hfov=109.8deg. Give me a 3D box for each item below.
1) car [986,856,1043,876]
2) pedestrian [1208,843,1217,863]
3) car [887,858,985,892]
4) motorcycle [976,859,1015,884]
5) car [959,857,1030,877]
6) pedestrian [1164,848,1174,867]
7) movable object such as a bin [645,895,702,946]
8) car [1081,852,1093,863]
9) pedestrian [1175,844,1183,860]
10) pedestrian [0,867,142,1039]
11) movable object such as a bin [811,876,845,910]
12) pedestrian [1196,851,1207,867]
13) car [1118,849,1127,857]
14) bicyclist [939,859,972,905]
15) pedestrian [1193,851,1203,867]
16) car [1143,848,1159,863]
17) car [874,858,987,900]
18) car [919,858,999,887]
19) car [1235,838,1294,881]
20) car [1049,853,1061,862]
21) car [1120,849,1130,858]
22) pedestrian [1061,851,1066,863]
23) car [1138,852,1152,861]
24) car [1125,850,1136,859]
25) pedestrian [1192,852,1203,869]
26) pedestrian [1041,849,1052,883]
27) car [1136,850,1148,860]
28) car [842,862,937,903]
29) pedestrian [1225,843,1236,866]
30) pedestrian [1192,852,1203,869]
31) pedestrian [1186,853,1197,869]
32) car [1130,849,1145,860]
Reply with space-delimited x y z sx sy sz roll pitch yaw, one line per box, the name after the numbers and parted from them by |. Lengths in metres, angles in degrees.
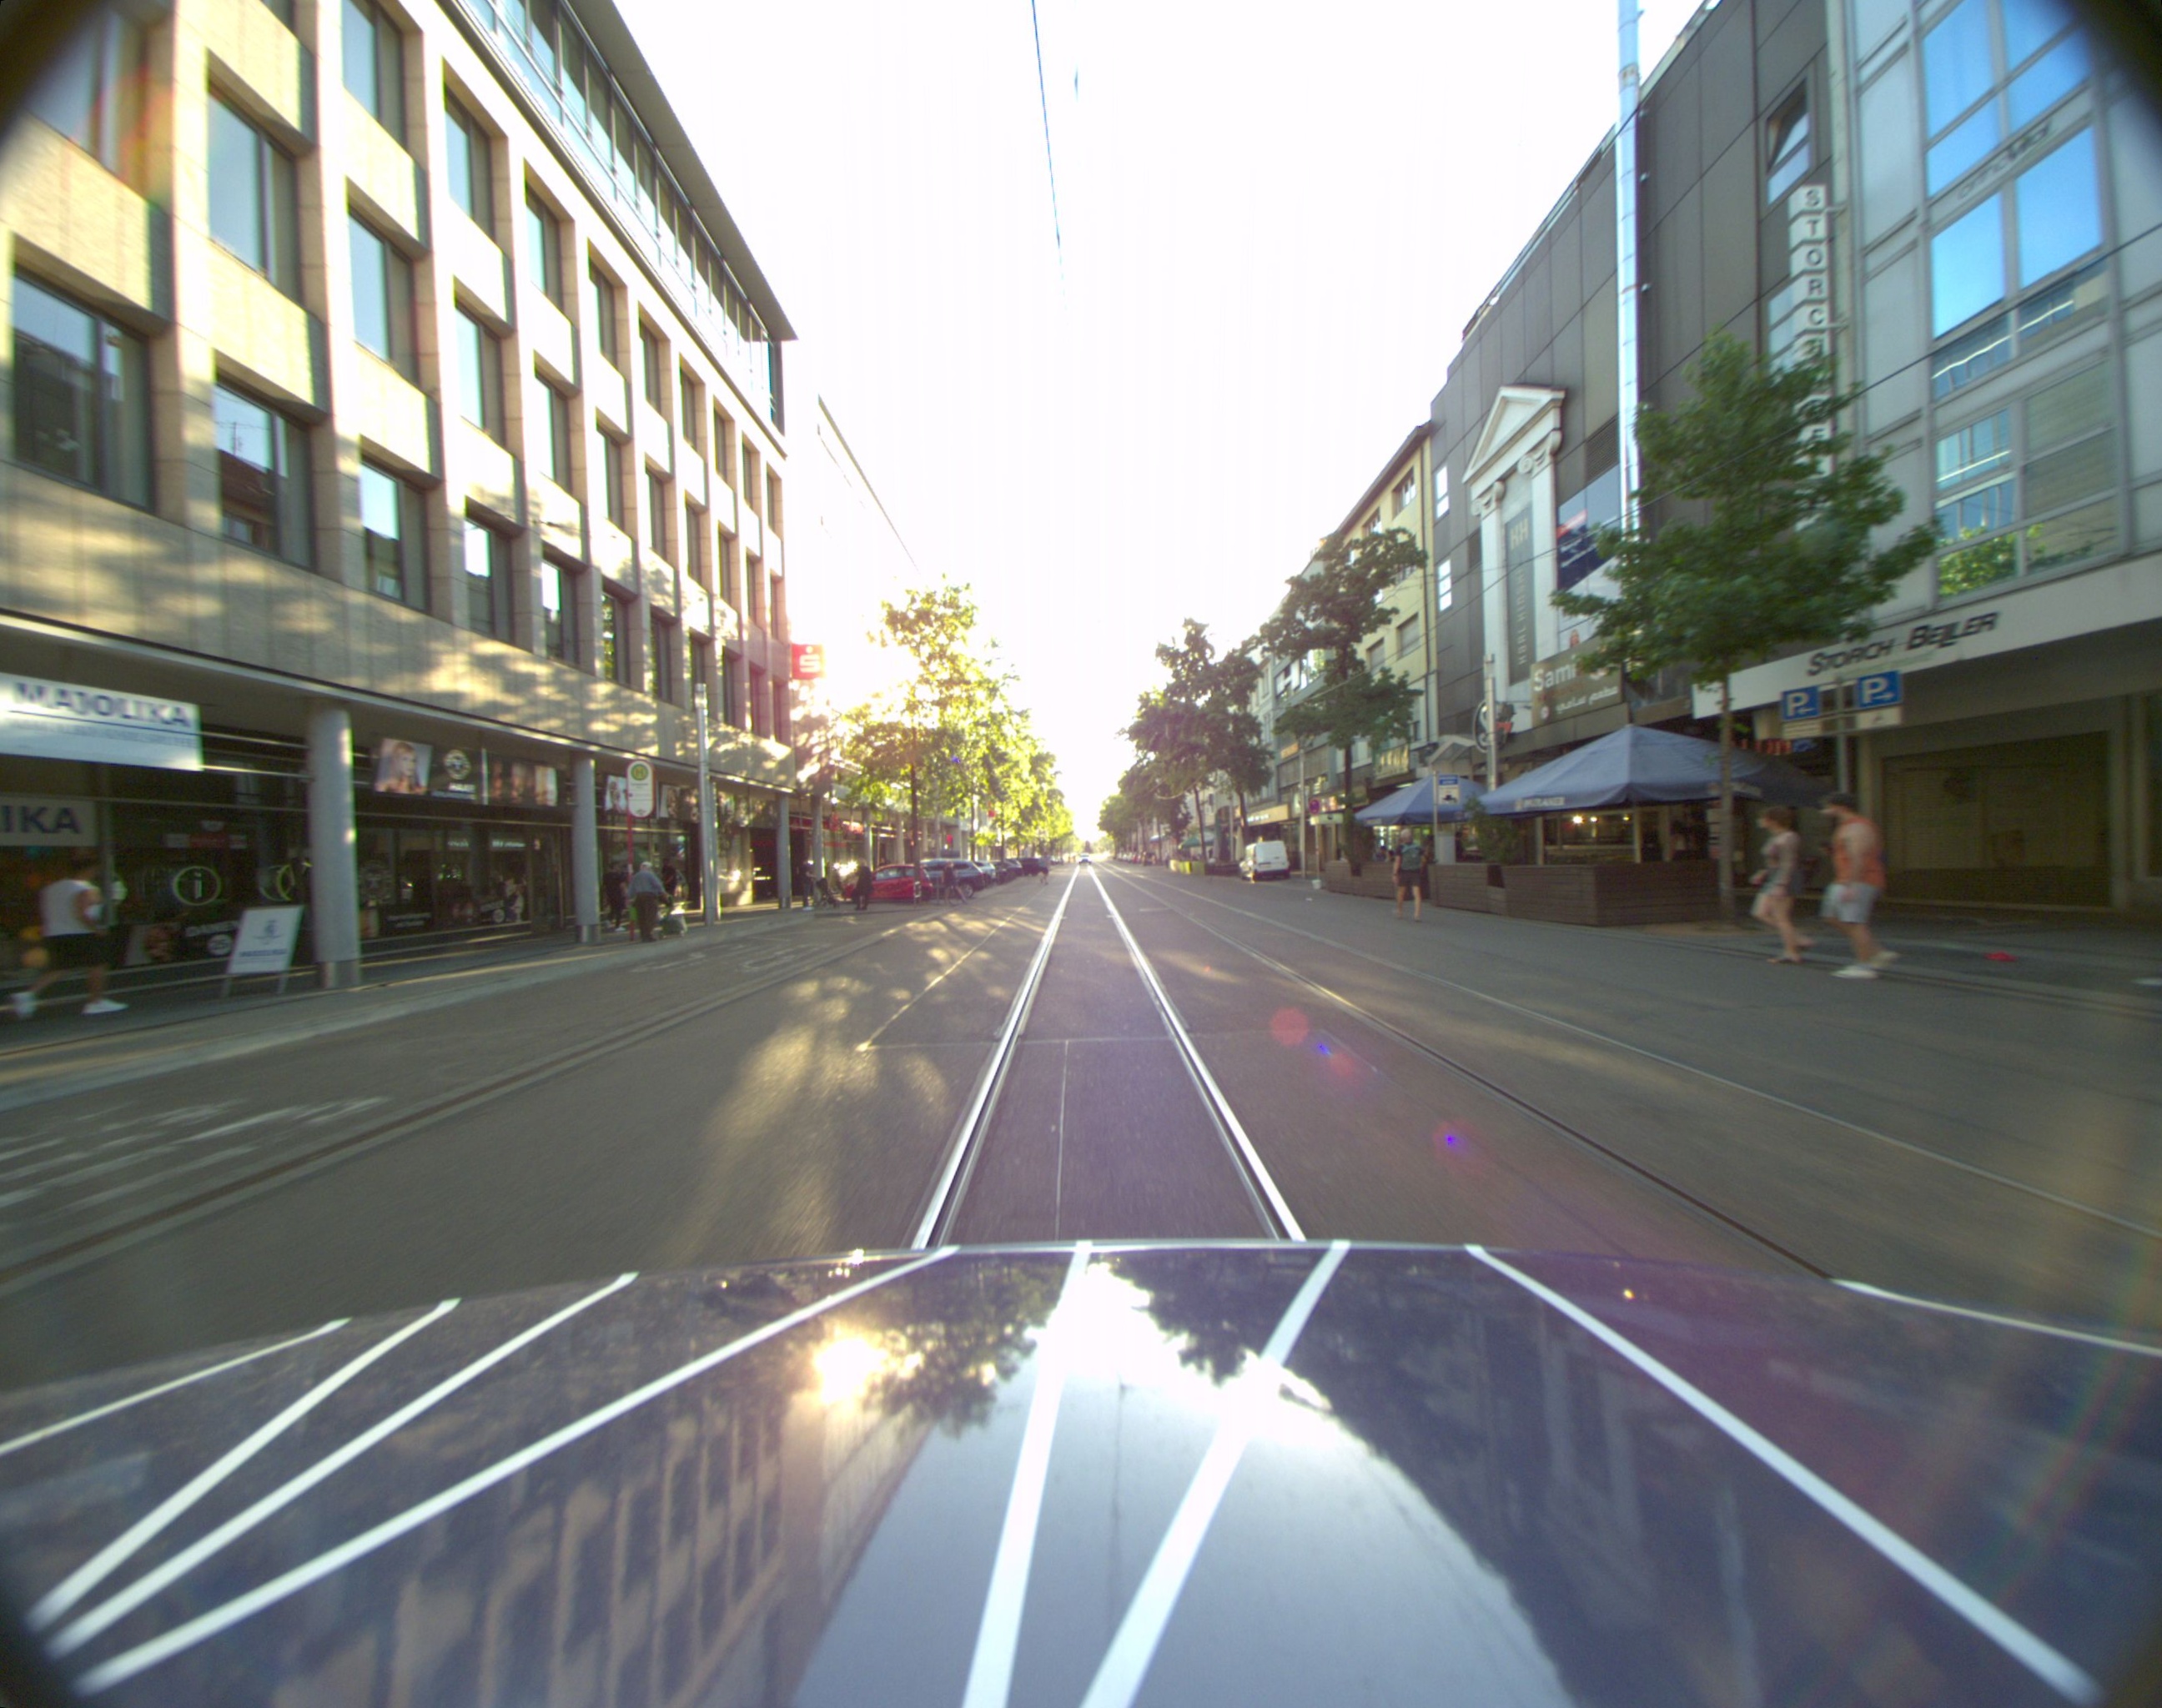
-5.955 1.049 68.177 4.674 1.753 1.990 0 0 -29 | car
12.573 -0.101 72.491 0.685 1.805 0.765 -4 1 16 | pedestrian
-6.974 0.971 36.658 4.256 1.578 1.880 0 0 -31 | car
-5.305 1.047 47.032 2.324 1.501 0.856 0 1 -43 | motorcycle
-6.614 1.016 58.407 5.071 1.460 1.972 1 0 -35 | car
8.542 0.321 74.011 0.759 1.781 0.687 -4 1 0 | pedestrian
-8.174 1.318 15.260 0.691 0.918 0.718 -4 0 1 | movable object such as a bin
0.941 0.521 122.741 1.827 1.603 3.796 -2 0 1 | car
11.727 -0.233 91.255 0.721 1.802 0.876 -5 1 0 | pedestrian
-11.366 1.054 8.427 0.746 1.782 0.858 -2 1 1 | pedestrian
-8.348 1.286 25.071 0.687 1.057 0.835 1 1 42 | movable object such as a bin
9.784 0.436 61.697 0.709 1.252 0.869 -4 1 3 | pedestrian
10.119 -0.195 184.415 1.932 1.946 4.765 -1 0 0 | car
-4.571 1.022 27.747 0.778 1.603 0.913 -4 0 14 | bicyclist
9.828 0.424 63.922 0.691 1.304 0.807 -4 1 1 | pedestrian
9.162 0.176 99.698 1.862 1.821 4.559 -3 0 2 | car
-6.313 1.004 32.075 4.363 1.642 1.690 0 0 -31 | car
-7.005 1.020 43.699 4.167 1.562 1.849 0 0 -33 | car
9.023 0.259 37.673 1.800 1.854 4.553 -5 0 1 | car
-4.825 0.624 140.923 1.871 1.502 4.241 1 0 -8 | car
9.849 -0.075 169.541 1.952 1.731 4.765 -5 0 0 | car
-2.741 0.478 119.208 0.705 1.858 0.792 -2 1 -2 | pedestrian
9.525 0.330 113.178 1.722 1.238 4.507 -5 0 0 | car
9.700 0.077 150.089 1.897 1.458 4.616 -5 0 1 | car
9.017 0.495 58.756 0.620 1.238 0.697 -5 1 0 | pedestrian
-1.979 0.683 43.357 0.584 1.908 0.663 0 1 2 | pedestrian
9.804 0.134 122.170 1.664 1.397 4.140 -5 0 1 | car
-7.361 1.061 29.147 3.401 1.472 1.664 0 0 -19 | car
11.434 0.036 58.150 0.679 1.746 0.697 -4 1 2 | pedestrian
8.816 0.500 57.696 0.620 1.238 0.697 -5 1 0 | pedestrian
8.957 0.553 61.786 0.709 1.252 0.772 -4 1 3 | pedestrian
9.770 0.045 131.691 1.870 1.679 4.950 -5 0 -3 | car
